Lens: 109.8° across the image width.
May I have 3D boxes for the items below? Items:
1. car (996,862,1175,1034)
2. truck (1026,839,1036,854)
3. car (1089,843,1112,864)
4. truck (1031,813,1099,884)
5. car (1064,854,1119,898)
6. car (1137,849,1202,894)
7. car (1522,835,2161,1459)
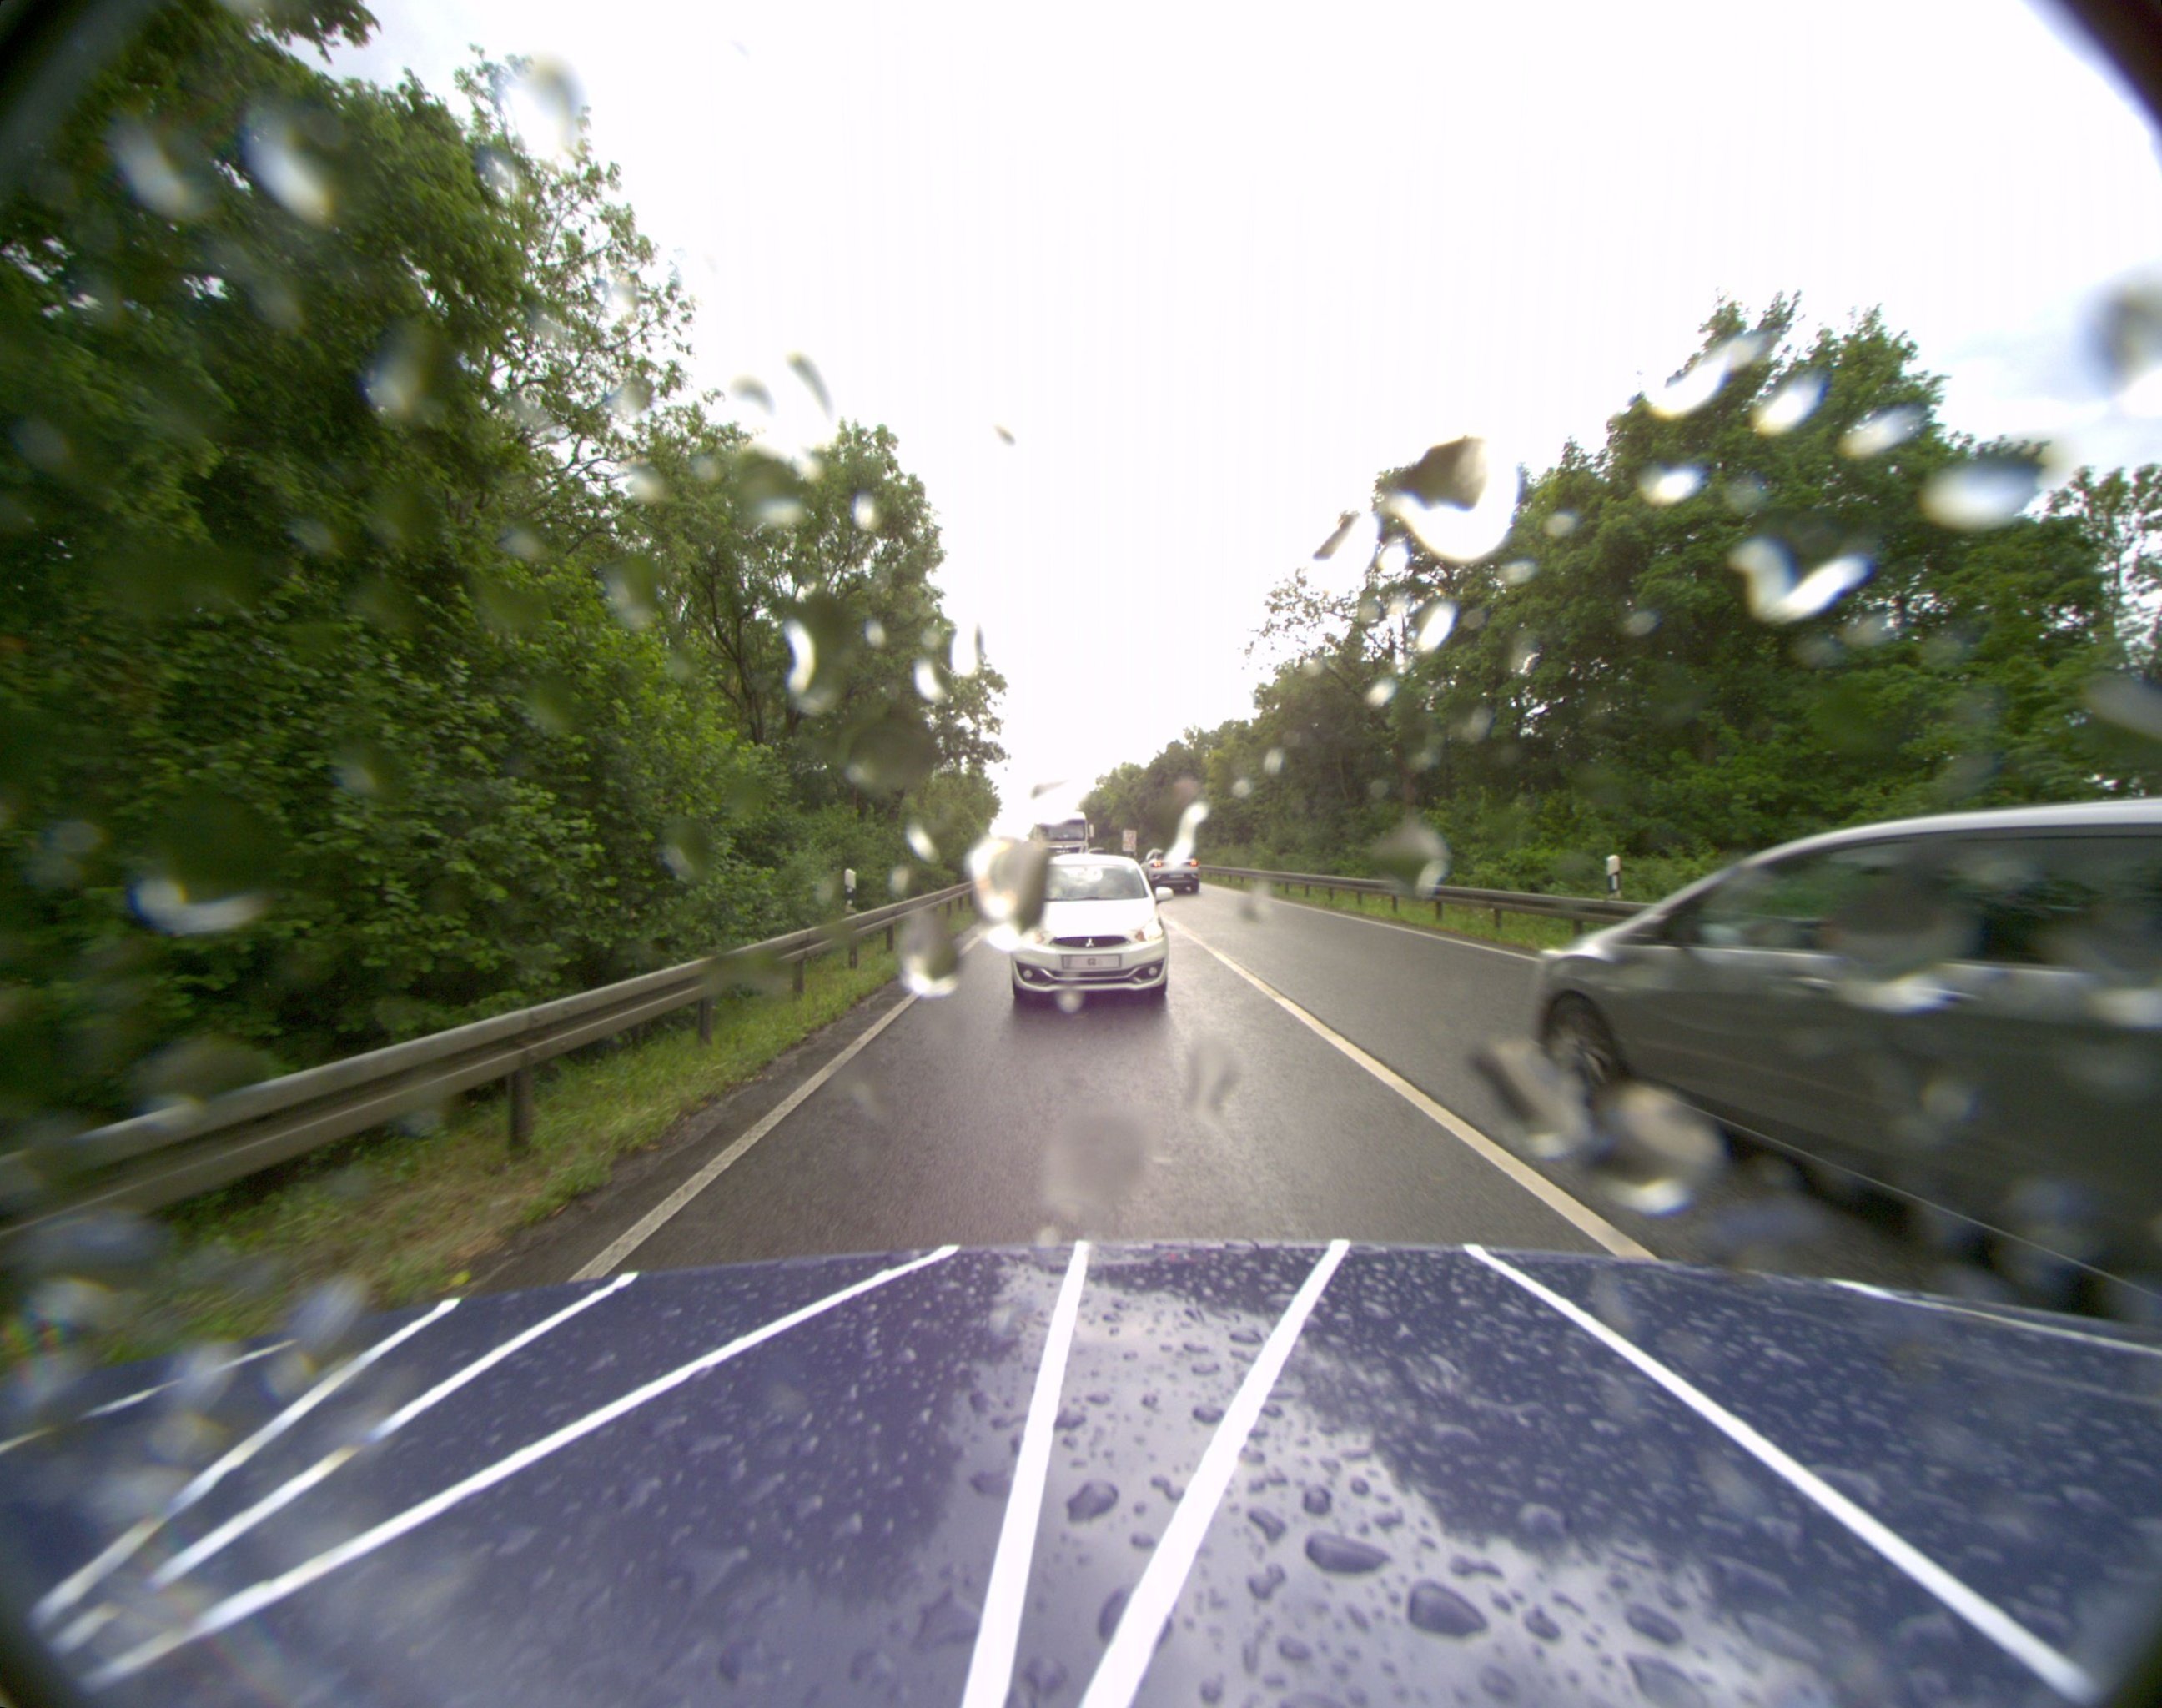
[{"bbox_3d":[0.042,0.894,9.099,1.610,1.435,4.208,-2,1,0],"label":"car"},{"bbox_3d":[-10.831,-1.662,165.352,1.999,3.023,6.582,-2,1,-3],"label":"truck"},{"bbox_3d":[1.728,-0.087,68.271,1.820,1.676,4.621,-2,1,-1],"label":"car"},{"bbox_3d":[-1.084,-0.368,41.731,3.137,3.364,9.277,-2,1,-4],"label":"truck"},{"bbox_3d":[0.304,0.747,27.738,1.641,1.413,4.490,-2,0,-3],"label":"car"},{"bbox_3d":[3.213,0.588,28.419,1.811,1.523,4.205,-2,0,-1],"label":"car"},{"bbox_3d":[3.581,0.729,2.539,1.696,1.564,4.374,-2,0,1],"label":"car"}]
